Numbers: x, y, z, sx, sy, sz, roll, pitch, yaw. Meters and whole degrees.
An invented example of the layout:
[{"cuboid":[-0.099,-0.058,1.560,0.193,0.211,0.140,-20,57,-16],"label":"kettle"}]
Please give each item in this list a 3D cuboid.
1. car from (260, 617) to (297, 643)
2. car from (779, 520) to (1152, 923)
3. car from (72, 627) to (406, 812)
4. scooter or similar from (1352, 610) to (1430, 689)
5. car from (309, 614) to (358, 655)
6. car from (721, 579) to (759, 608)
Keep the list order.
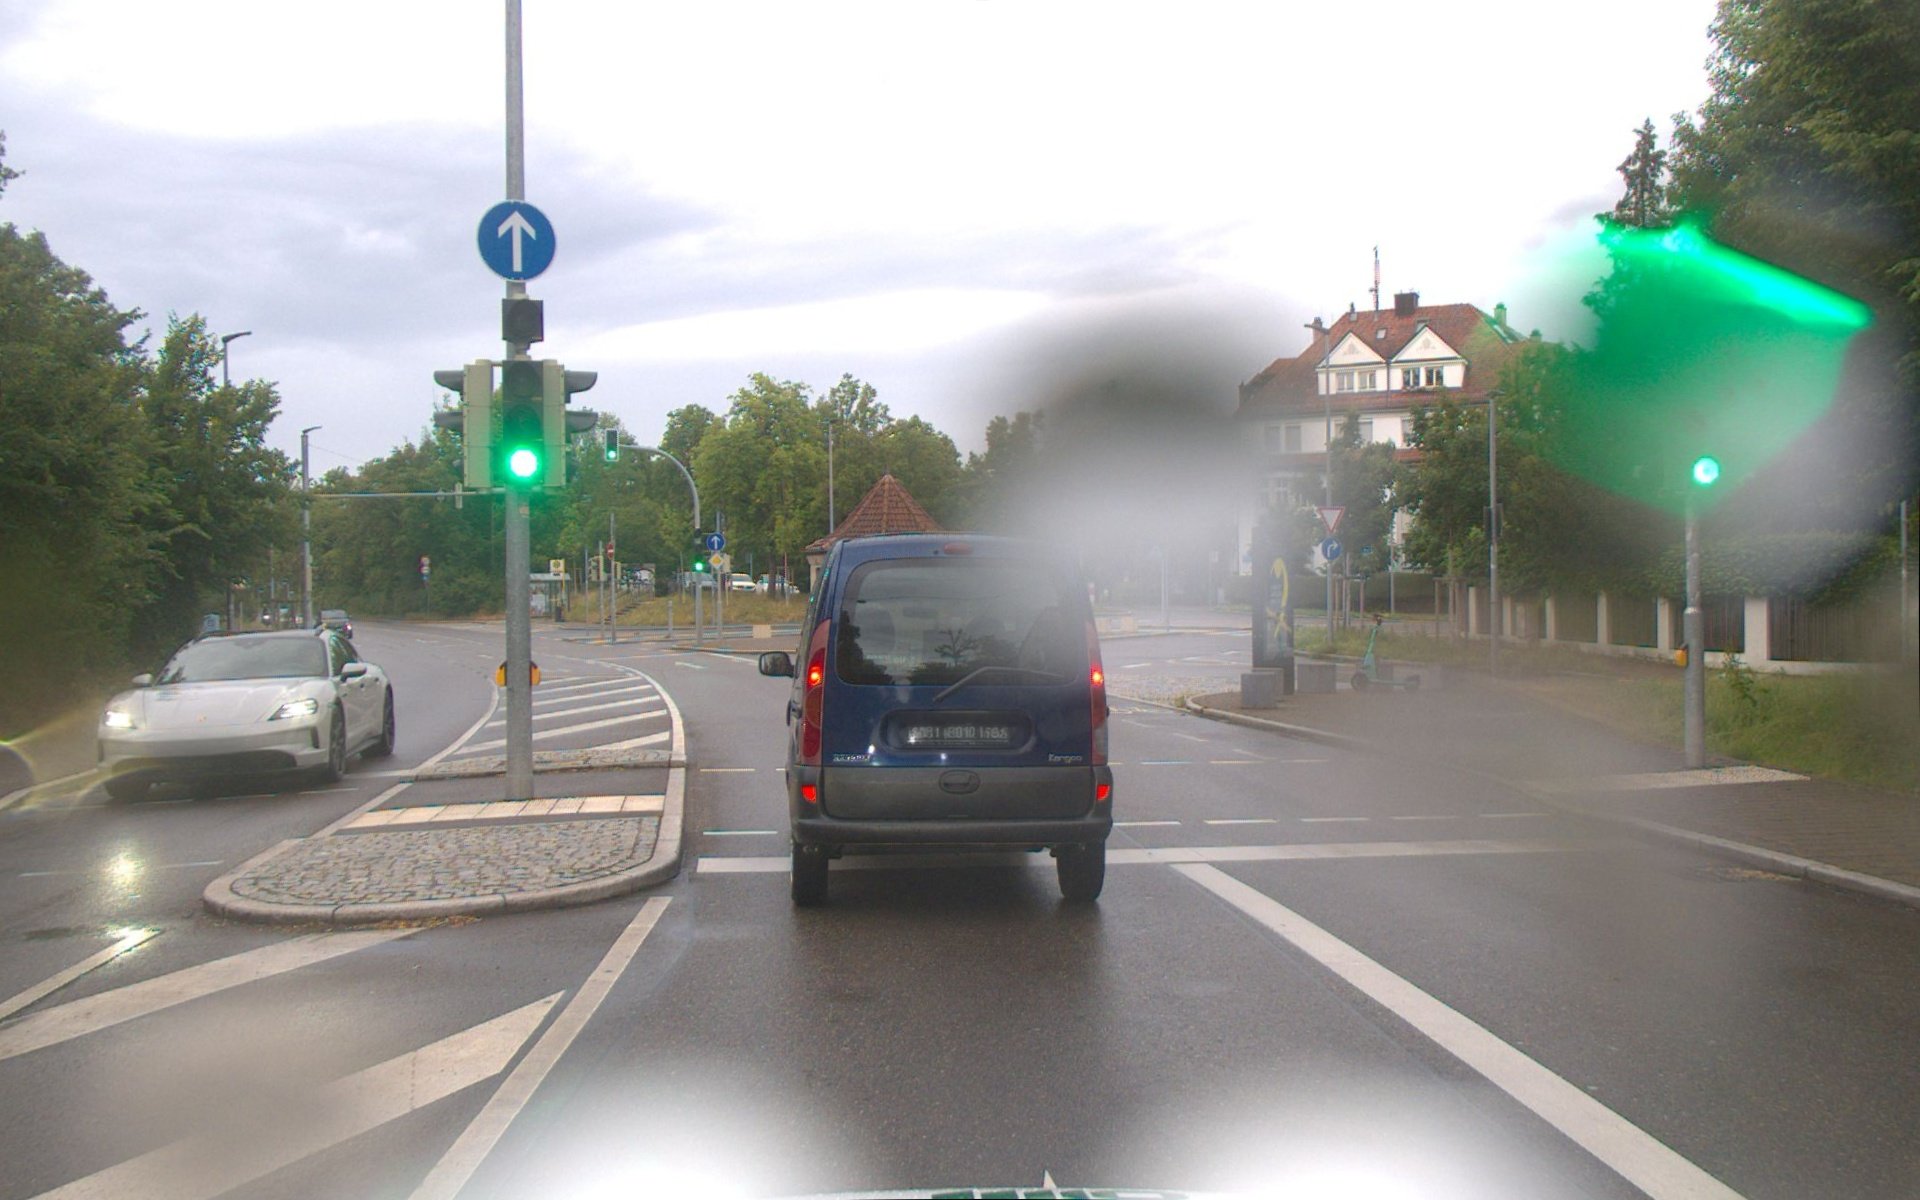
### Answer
[{"cuboid":[-42.367,1.874,102.903,1.964,1.613,3.976,0,-1,-20],"label":"car"},{"cuboid":[-0.058,0.545,9.516,1.697,1.817,3.998,0,0,-3],"label":"car"},{"cuboid":[-6.726,1.021,15.967,1.958,1.334,4.348,-3,1,-11],"label":"car"},{"cuboid":[6.892,0.789,26.452,1.125,1.240,0.405,-1,-1,-2],"label":"scooter or similar"},{"cuboid":[-32.166,1.755,84.866,1.970,2.049,3.965,1,-1,-27],"label":"car"},{"cuboid":[-14.362,-0.425,108.150,1.953,1.844,3.999,0,-1,-1],"label":"car"}]
